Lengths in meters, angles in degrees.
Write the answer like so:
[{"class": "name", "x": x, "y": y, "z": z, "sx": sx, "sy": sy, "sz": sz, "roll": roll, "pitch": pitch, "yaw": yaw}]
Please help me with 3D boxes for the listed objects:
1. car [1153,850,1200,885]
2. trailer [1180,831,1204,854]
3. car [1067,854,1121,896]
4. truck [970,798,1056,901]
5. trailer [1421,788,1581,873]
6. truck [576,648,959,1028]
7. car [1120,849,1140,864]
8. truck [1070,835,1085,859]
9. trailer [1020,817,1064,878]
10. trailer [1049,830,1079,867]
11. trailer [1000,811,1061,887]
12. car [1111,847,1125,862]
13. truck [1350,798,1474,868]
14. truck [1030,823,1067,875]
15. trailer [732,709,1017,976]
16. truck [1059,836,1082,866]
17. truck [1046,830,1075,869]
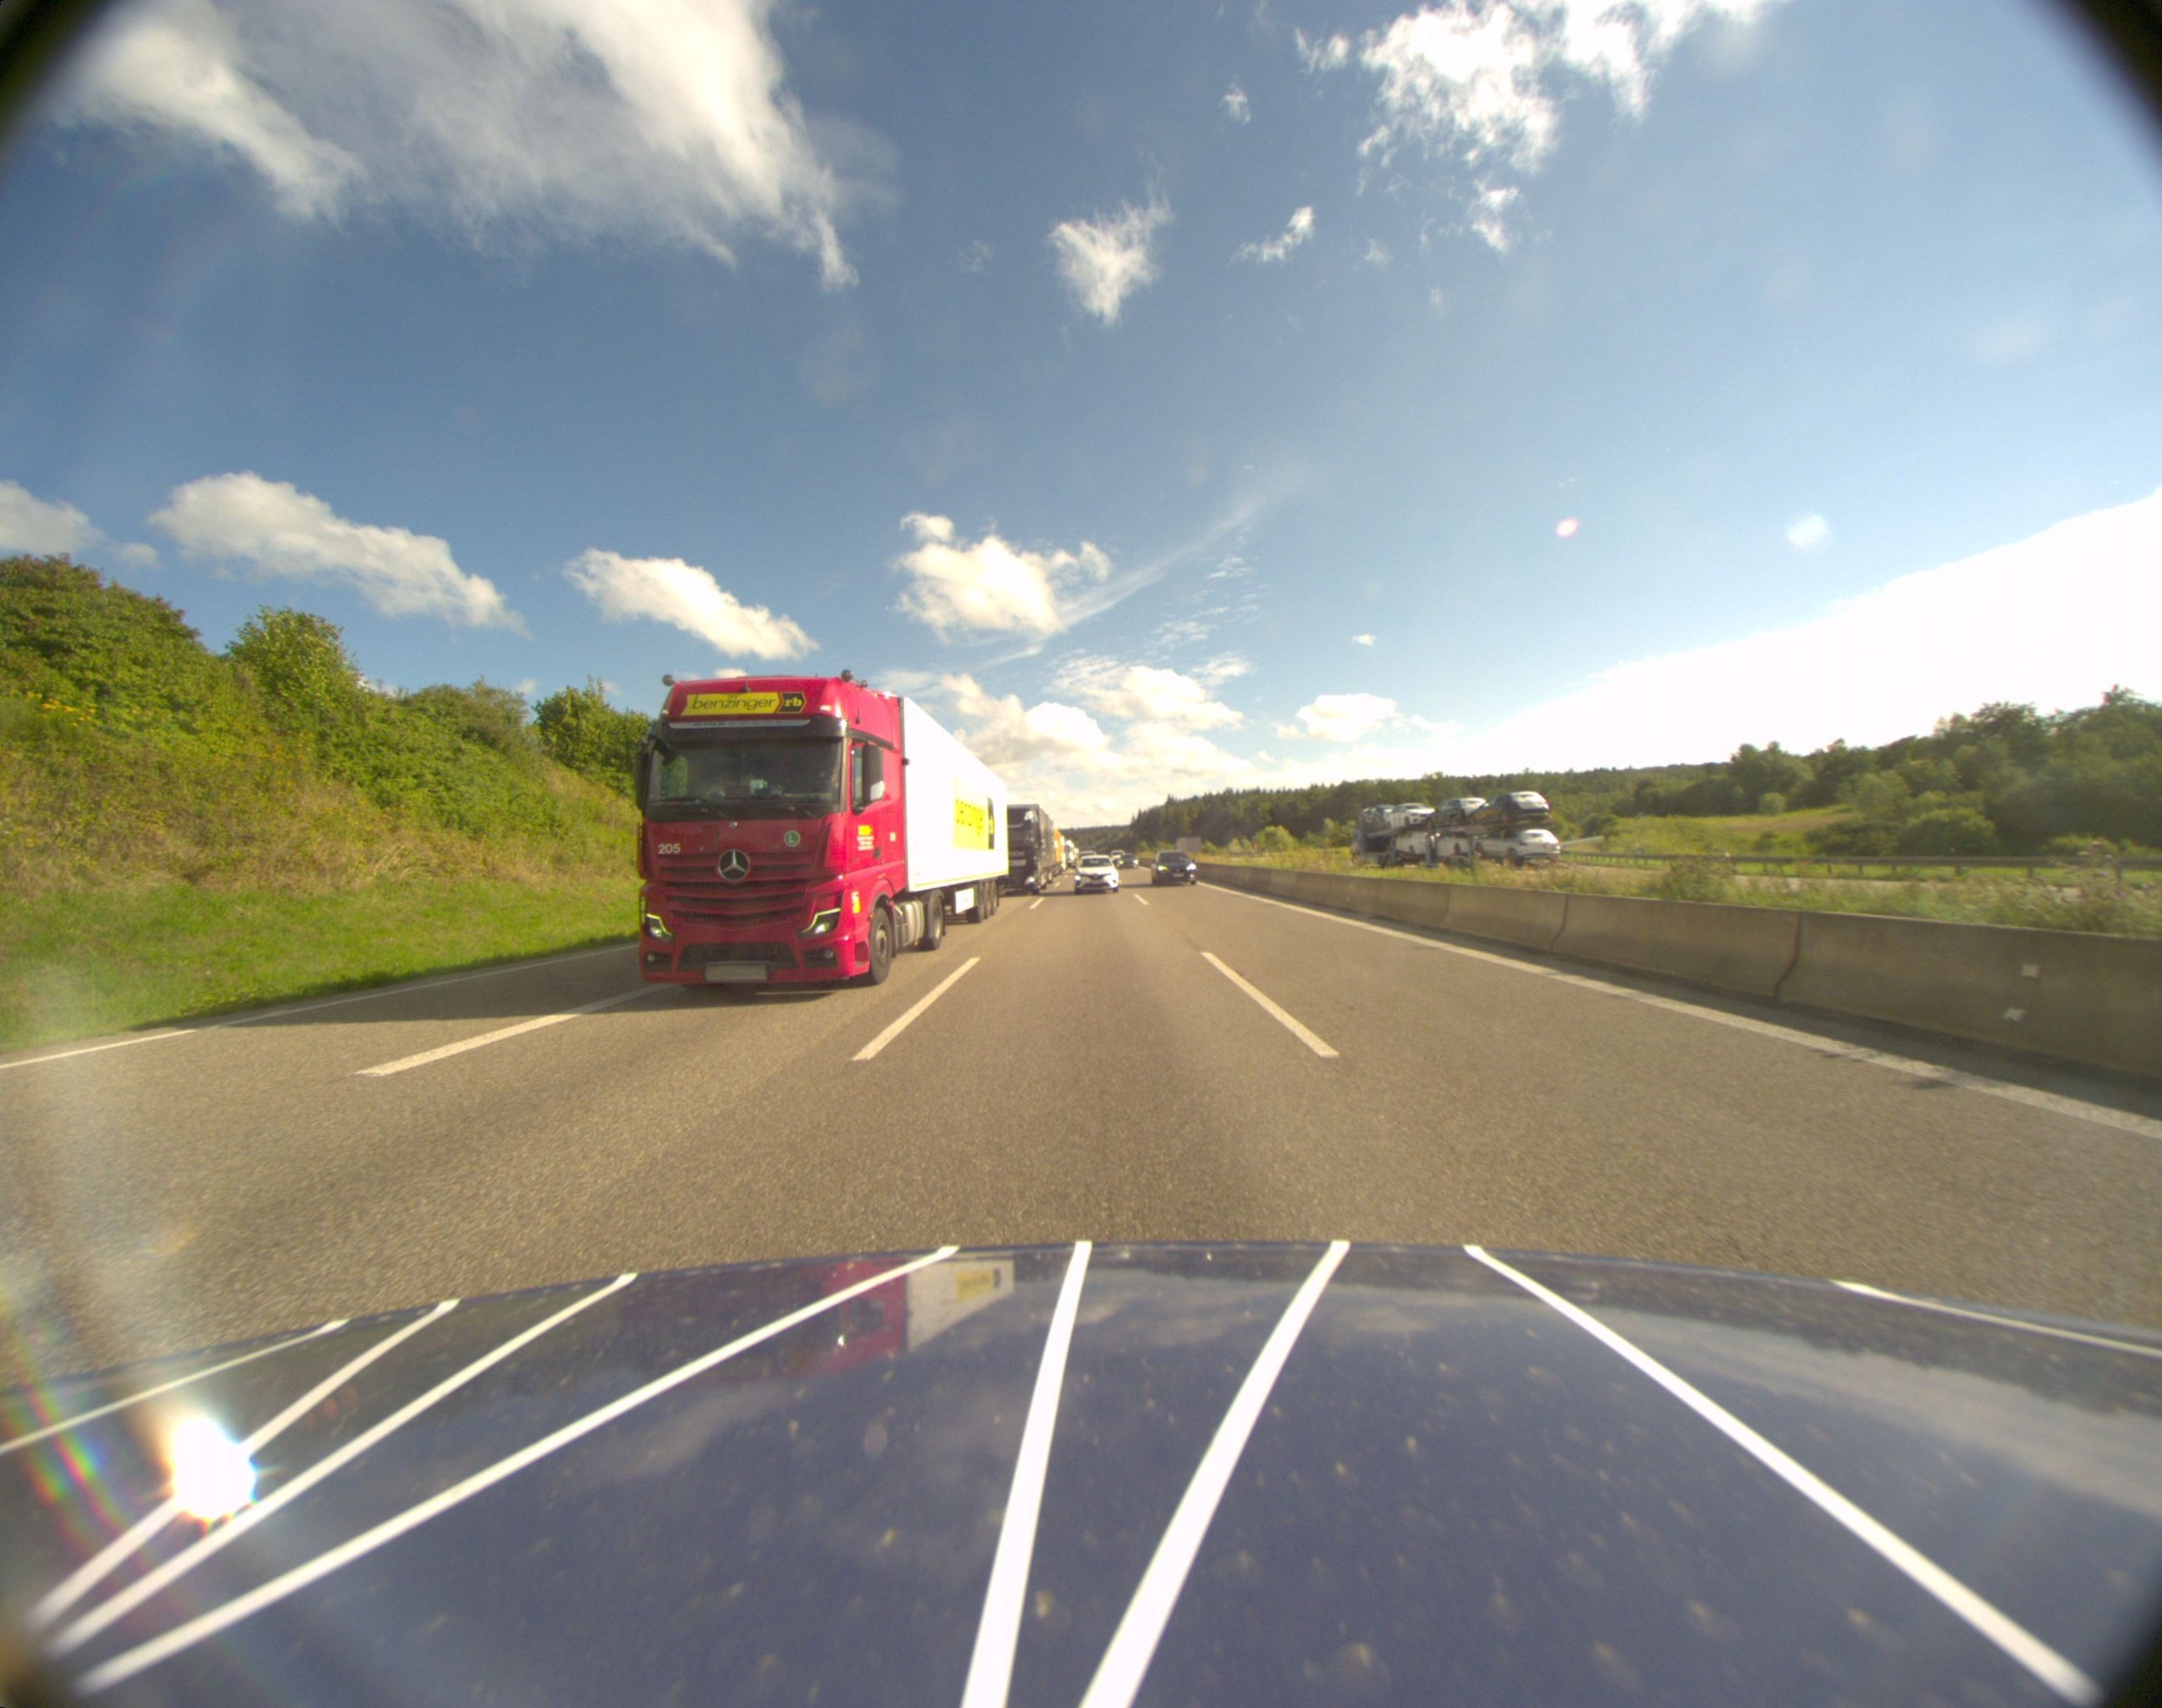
[{"class": "car", "x": 4.519, "y": 0.586, "z": 36.489, "sx": 1.779, "sy": 1.533, "sz": 4.158, "roll": -1, "pitch": 1, "yaw": 1}, {"class": "trailer", "x": 20.785, "y": -2.139, "z": 142.955, "sx": 2.839, "sy": 3.969, "sz": 13.549, "roll": -3, "pitch": 1, "yaw": 2}, {"class": "car", "x": 0.608, "y": 0.818, "z": 31.909, "sx": 2.026, "sy": 1.511, "sz": 5.299, "roll": -2, "pitch": 0, "yaw": 2}, {"class": "truck", "x": -2.952, "y": -0.233, "z": 36.271, "sx": 2.747, "sy": 4.015, "sz": 10.201, "roll": -5, "pitch": 1, "yaw": 1}, {"class": "trailer", "x": 19.664, "y": -1.030, "z": 36.446, "sx": 2.806, "sy": 3.508, "sz": 8.953, "roll": -2, "pitch": 1, "yaw": 1}, {"class": "truck", "x": -3.815, "y": -0.183, "z": 11.022, "sx": 2.809, "sy": 3.916, "sz": 5.825, "roll": -3, "pitch": 1, "yaw": 1}, {"class": "car", "x": 4.878, "y": 0.227, "z": 75.700, "sx": 1.779, "sy": 1.451, "sz": 4.158, "roll": -1, "pitch": 1, "yaw": 1}, {"class": "truck", "x": -0.619, "y": -1.163, "z": 136.523, "sx": 2.371, "sy": 3.996, "sz": 6.106, "roll": -4, "pitch": -1, "yaw": 0}, {"class": "trailer", "x": -2.832, "y": -0.433, "z": 57.175, "sx": 2.418, "sy": 4.045, "sz": 8.926, "roll": -5, "pitch": 0, "yaw": 1}, {"class": "trailer", "x": -2.013, "y": -0.716, "z": 95.454, "sx": 2.648, "sy": 4.074, "sz": 13.980, "roll": -5, "pitch": 1, "yaw": 2}, {"class": "trailer", "x": -2.850, "y": -0.243, "z": 45.739, "sx": 2.723, "sy": 3.937, "sz": 8.711, "roll": -5, "pitch": 0, "yaw": 0}, {"class": "car", "x": 5.024, "y": 0.091, "z": 102.775, "sx": 1.779, "sy": 1.923, "sz": 4.214, "roll": -1, "pitch": 0, "yaw": 1}, {"class": "truck", "x": 19.833, "y": -1.182, "z": 46.559, "sx": 2.838, "sy": 3.667, "sz": 11.131, "roll": -2, "pitch": 1, "yaw": 1}, {"class": "truck", "x": -2.746, "y": -0.434, "z": 66.492, "sx": 2.418, "sy": 4.045, "sz": 9.664, "roll": -5, "pitch": 0, "yaw": 1}, {"class": "trailer", "x": -3.685, "y": -0.229, "z": 18.061, "sx": 2.799, "sy": 3.916, "sz": 13.068, "roll": -3, "pitch": 1, "yaw": 1}, {"class": "truck", "x": -1.450, "y": -0.419, "z": 110.819, "sx": 2.655, "sy": 3.902, "sz": 6.943, "roll": -5, "pitch": 0, "yaw": 2}, {"class": "truck", "x": -2.314, "y": -0.533, "z": 87.740, "sx": 2.654, "sy": 4.066, "sz": 6.491, "roll": -5, "pitch": 1, "yaw": 2}]
